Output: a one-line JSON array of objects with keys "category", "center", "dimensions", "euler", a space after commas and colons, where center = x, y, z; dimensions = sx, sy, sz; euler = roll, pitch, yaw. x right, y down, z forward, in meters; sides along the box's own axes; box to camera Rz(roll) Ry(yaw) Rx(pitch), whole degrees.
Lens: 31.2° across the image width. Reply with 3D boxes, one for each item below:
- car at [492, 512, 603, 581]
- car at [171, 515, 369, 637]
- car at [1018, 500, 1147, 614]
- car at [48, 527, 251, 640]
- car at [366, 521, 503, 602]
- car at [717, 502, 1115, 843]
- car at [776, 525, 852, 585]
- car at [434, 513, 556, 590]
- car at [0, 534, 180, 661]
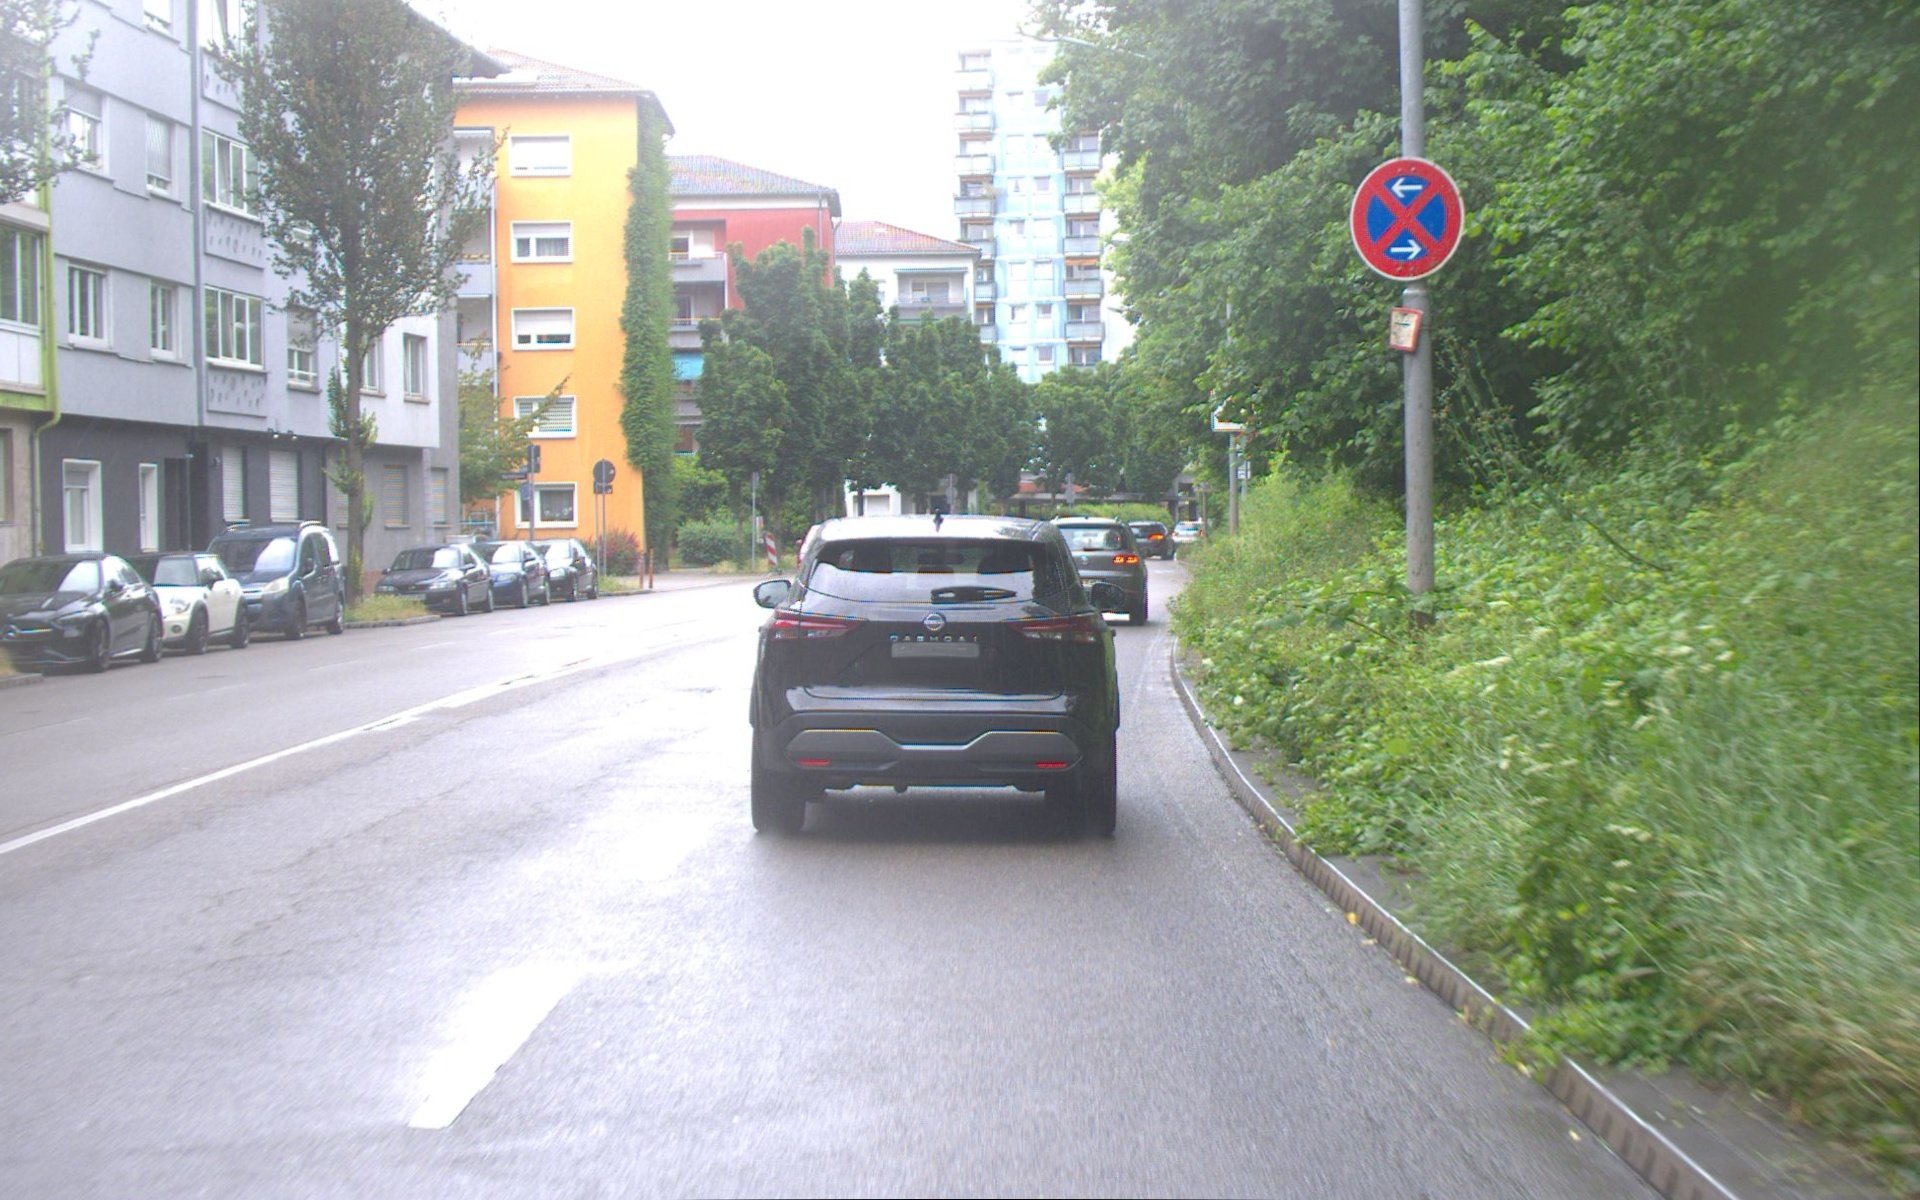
[{"category": "car", "center": [-9.366, -1.240, 78.379], "dimensions": [1.712, 1.420, 4.322], "euler": [-3, 2, 4]}, {"category": "car", "center": [-10.712, -0.414, 53.699], "dimensions": [1.891, 1.760, 4.600], "euler": [-2, 1, 3]}, {"category": "car", "center": [1.949, -0.692, 53.661], "dimensions": [1.887, 1.705, 4.000], "euler": [0, 1, 4]}, {"category": "car", "center": [-11.104, -0.263, 47.352], "dimensions": [1.680, 1.371, 4.000], "euler": [-3, 2, 2]}, {"category": "car", "center": [-10.127, -0.768, 66.543], "dimensions": [1.688, 1.353, 4.579], "euler": [-4, 2, 3]}, {"category": "car", "center": [-0.122, 0.285, 18.271], "dimensions": [1.845, 1.577, 4.000], "euler": [1, 2, 3]}, {"category": "car", "center": [-3.808, -1.202, 90.383], "dimensions": [1.706, 1.473, 3.680], "euler": [-1, 1, 2]}, {"category": "car", "center": [-9.744, -1.042, 72.325], "dimensions": [1.681, 1.444, 4.276], "euler": [-3, 2, 3]}, {"category": "car", "center": [-11.024, -0.061, 42.172], "dimensions": [1.817, 1.367, 4.681], "euler": [-2, 2, 0]}]
